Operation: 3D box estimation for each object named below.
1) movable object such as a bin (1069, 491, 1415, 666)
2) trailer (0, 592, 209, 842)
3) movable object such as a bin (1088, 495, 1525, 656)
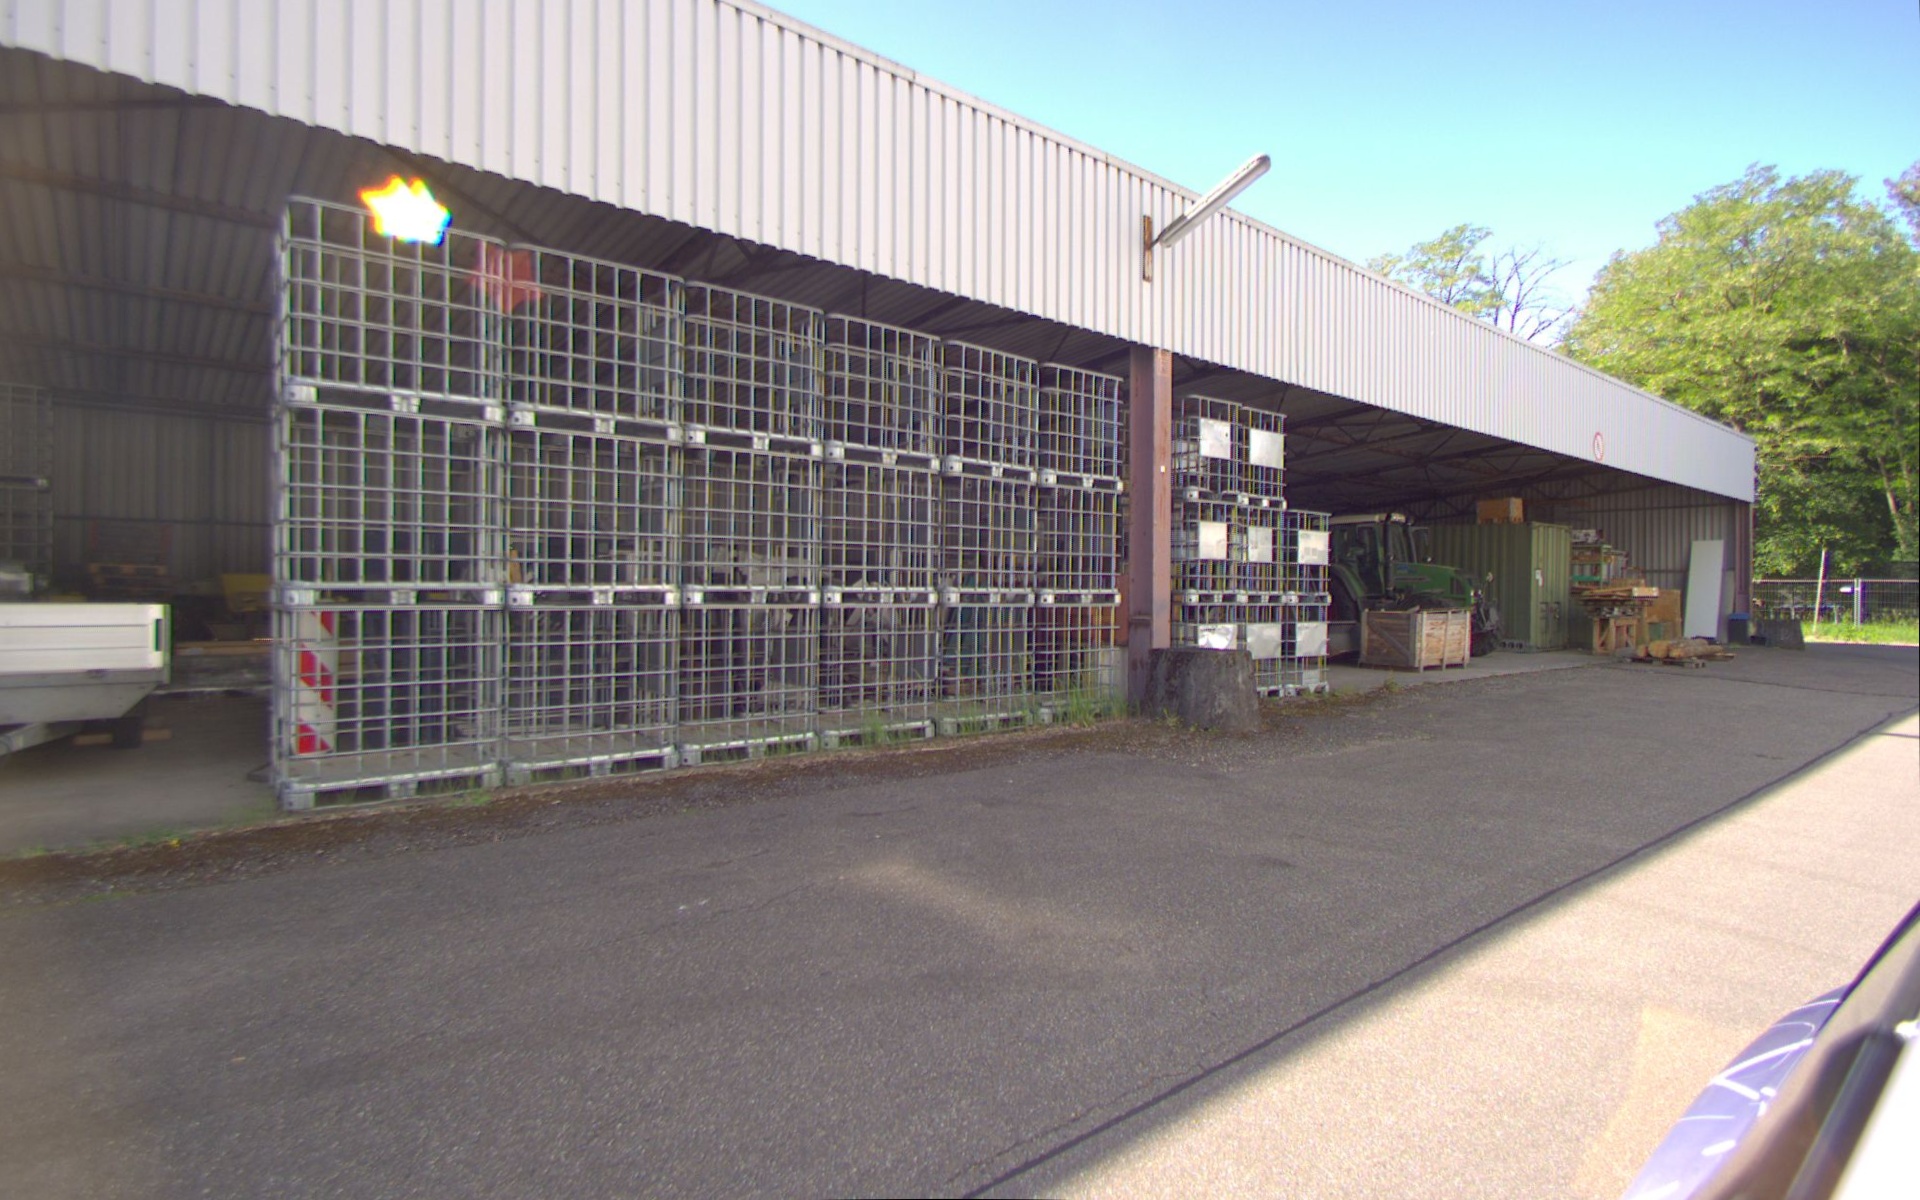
[{"bbox_3d":[5.428,-0.394,20.377,2.962,2.947,6.199,0,0,-39],"label":"movable object such as a bin"},{"bbox_3d":[-6.754,0.549,6.934,2.104,1.147,5.857,0,1,-41],"label":"trailer"},{"bbox_3d":[7.365,-0.483,23.126,3.154,2.947,9.212,0,0,-39],"label":"movable object such as a bin"}]
